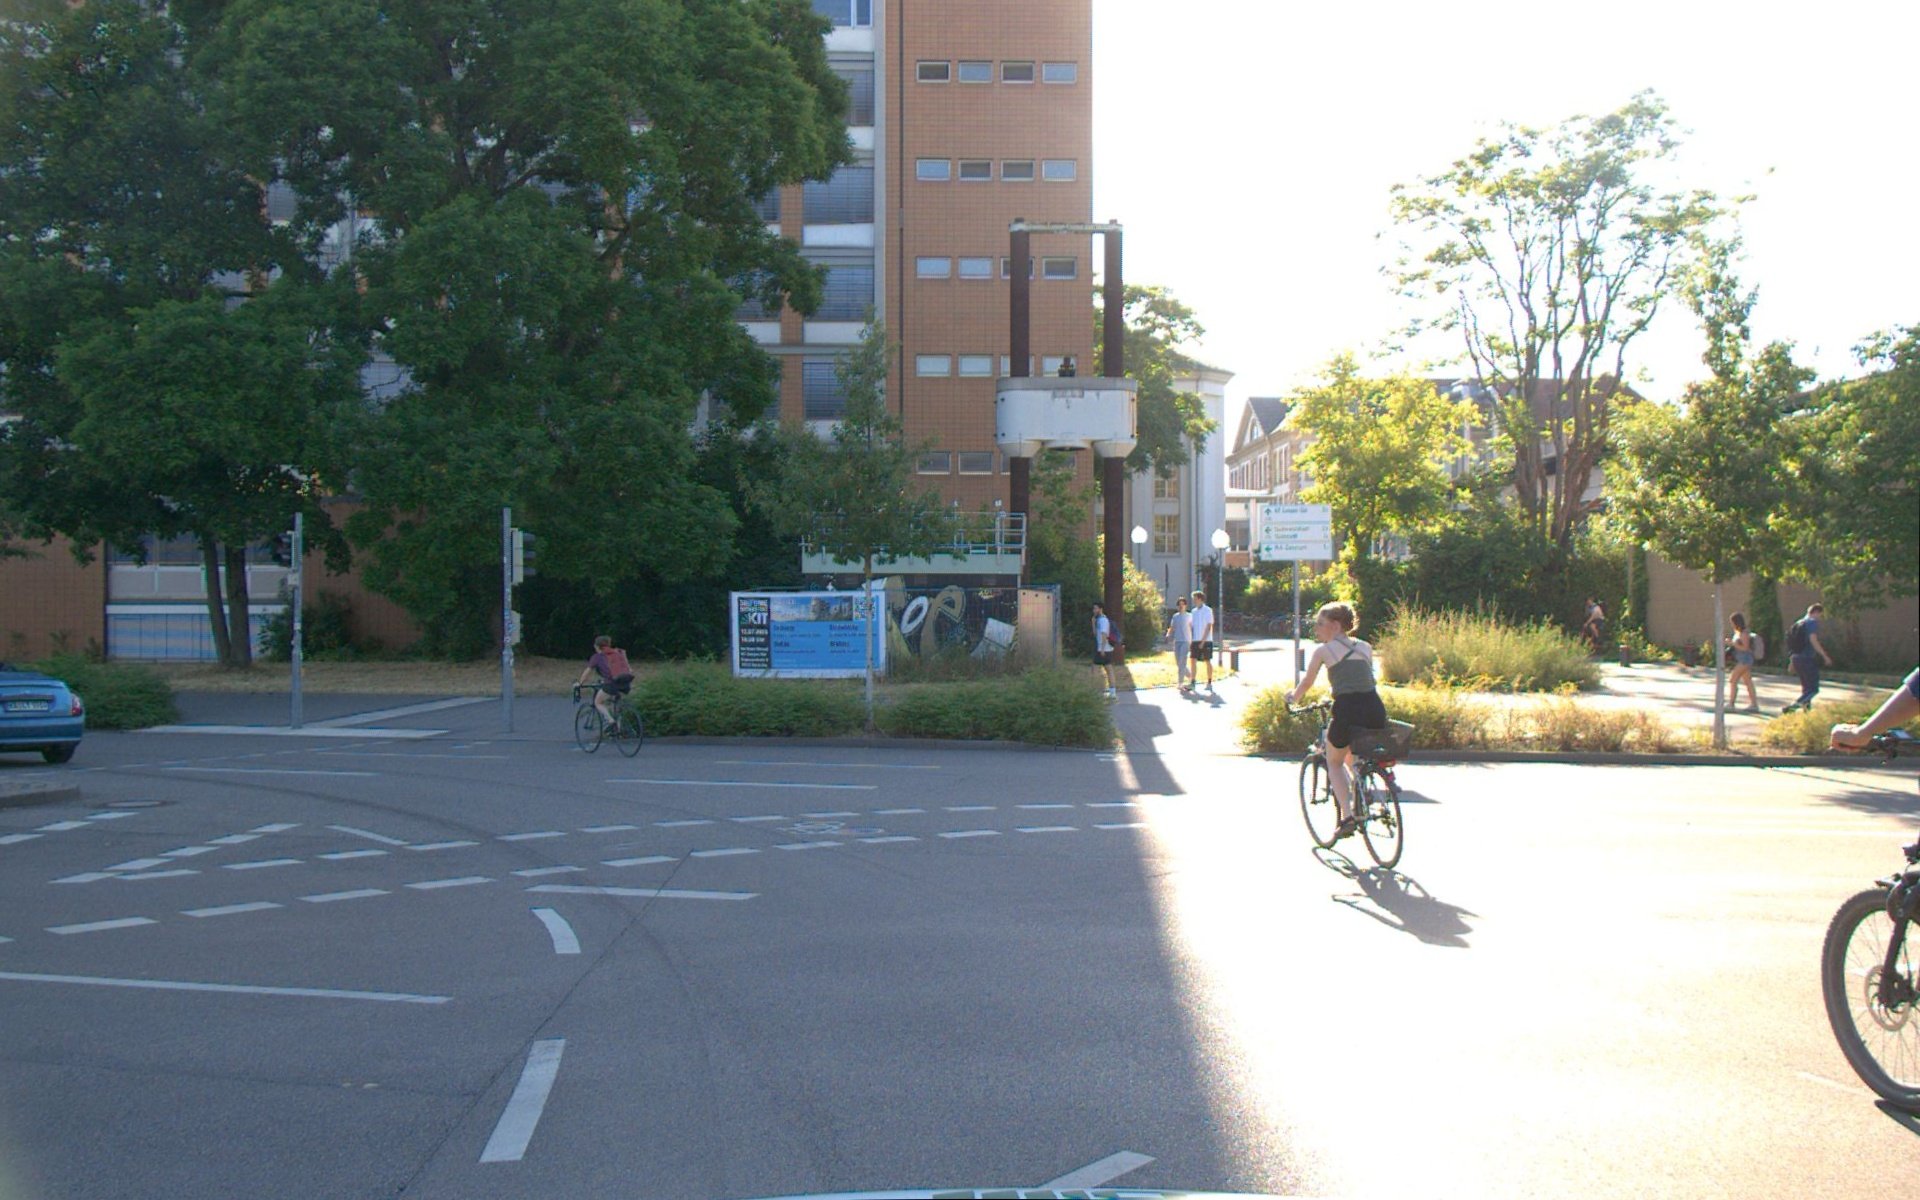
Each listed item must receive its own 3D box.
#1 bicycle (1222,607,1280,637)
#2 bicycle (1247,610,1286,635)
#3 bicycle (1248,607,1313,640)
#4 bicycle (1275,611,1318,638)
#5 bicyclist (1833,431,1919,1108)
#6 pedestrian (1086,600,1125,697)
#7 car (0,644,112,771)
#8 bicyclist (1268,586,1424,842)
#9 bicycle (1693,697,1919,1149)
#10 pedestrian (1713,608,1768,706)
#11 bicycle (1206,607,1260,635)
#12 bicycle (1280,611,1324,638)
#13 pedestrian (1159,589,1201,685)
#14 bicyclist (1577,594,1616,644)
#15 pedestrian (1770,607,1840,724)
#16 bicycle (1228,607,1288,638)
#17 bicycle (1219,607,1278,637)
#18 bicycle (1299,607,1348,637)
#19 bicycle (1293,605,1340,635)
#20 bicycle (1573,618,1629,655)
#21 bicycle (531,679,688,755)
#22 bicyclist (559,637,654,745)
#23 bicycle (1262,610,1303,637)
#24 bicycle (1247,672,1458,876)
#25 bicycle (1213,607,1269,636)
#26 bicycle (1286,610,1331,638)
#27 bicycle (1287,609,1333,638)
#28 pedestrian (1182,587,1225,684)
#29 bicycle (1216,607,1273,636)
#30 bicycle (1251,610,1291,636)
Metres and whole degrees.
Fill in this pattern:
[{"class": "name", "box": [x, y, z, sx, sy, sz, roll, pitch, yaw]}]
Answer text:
[{"class": "bicycle", "box": [14.576, 1.110, 82.863, 2.812, 1.405, 0.683, 2, -1, 3]}, {"class": "bicycle", "box": [14.652, 1.091, 79.031, 1.757, 1.127, 0.500, 2, -1, 3]}, {"class": "bicycle", "box": [14.586, 1.068, 75.250, 2.812, 1.405, 0.683, 2, -1, 3]}, {"class": "bicycle", "box": [14.636, 1.052, 72.036, 1.757, 1.127, 0.500, 2, -1, 3]}, {"class": "bicyclist", "box": [3.042, 0.464, 4.412, 0.763, 1.865, 1.091, 0, 0, -7]}, {"class": "pedestrian", "box": [2.646, 0.871, 30.039, 0.615, 1.729, 0.623, -1, 0, 12]}, {"class": "car", "box": [-12.574, 1.281, 20.602, 3.892, 1.470, 1.802, -1, -2, 31]}, {"class": "bicyclist", "box": [2.682, 0.759, 11.598, 0.763, 1.706, 1.092, 0, 0, -5]}, {"class": "bicycle", "box": [3.044, 0.923, 4.431, 0.763, 1.176, 2.577, 0, 0, -7]}, {"class": "pedestrian", "box": [12.997, 0.939, 27.555, 0.624, 1.602, 0.623, 0, 0, 3]}, {"class": "bicycle", "box": [14.701, 1.149, 89.103, 2.812, 1.405, 0.683, 2, -1, 3]}, {"class": "bicycle", "box": [14.603, 1.043, 70.575, 1.757, 1.127, 0.500, 2, -1, 3]}, {"class": "pedestrian", "box": [4.438, 0.741, 33.372, 0.570, 1.902, 0.615, 0, 0, -36]}, {"class": "bicyclist", "box": [19.029, 0.554, 49.455, 0.895, 1.460, 0.623, 2, -1, 3]}, {"class": "pedestrian", "box": [12.837, 0.978, 25.143, 0.716, 1.743, 0.713, 0, 0, 3]}, {"class": "bicycle", "box": [14.548, 1.098, 80.823, 2.812, 1.405, 0.683, 2, -1, 3]}, {"class": "bicycle", "box": [14.597, 1.116, 83.732, 2.812, 1.405, 0.683, 2, -1, 3]}, {"class": "bicycle", "box": [14.206, 0.861, 64.655, 1.757, 1.127, 0.500, 2, -1, 3]}, {"class": "bicycle", "box": [14.358, 0.797, 66.587, 1.757, 1.127, 0.500, 2, -1, 3]}, {"class": "bicycle", "box": [19.160, 1.083, 49.445, 1.523, 1.042, 0.622, 1, -1, 25]}, {"class": "bicycle", "box": [-4.720, 1.556, 22.217, 2.202, 0.969, 0.720, -2, -2, 33]}, {"class": "bicyclist", "box": [-4.755, 1.219, 22.250, 1.053, 1.409, 0.720, -2, -2, 33]}, {"class": "bicycle", "box": [14.517, 1.062, 74.482, 1.757, 1.127, 0.500, 2, -1, 3]}, {"class": "bicycle", "box": [2.681, 1.149, 11.594, 0.763, 1.176, 2.289, 0, 0, -5]}, {"class": "bicycle", "box": [14.768, 1.140, 87.038, 2.812, 1.405, 0.683, 2, -1, 3]}, {"class": "bicycle", "box": [14.533, 1.011, 69.076, 1.757, 1.127, 0.500, 2, -1, 3]}, {"class": "bicycle", "box": [14.449, 0.978, 68.271, 1.757, 1.127, 0.500, 2, -1, 3]}, {"class": "pedestrian", "box": [4.838, 0.695, 32.832, 0.570, 1.902, 0.615, 0, 0, -36]}, {"class": "bicycle", "box": [14.687, 1.128, 85.442, 2.812, 1.405, 0.683, 2, -1, 3]}, {"class": "bicycle", "box": [14.515, 1.076, 77.100, 1.757, 1.127, 0.500, 2, -1, 3]}]
